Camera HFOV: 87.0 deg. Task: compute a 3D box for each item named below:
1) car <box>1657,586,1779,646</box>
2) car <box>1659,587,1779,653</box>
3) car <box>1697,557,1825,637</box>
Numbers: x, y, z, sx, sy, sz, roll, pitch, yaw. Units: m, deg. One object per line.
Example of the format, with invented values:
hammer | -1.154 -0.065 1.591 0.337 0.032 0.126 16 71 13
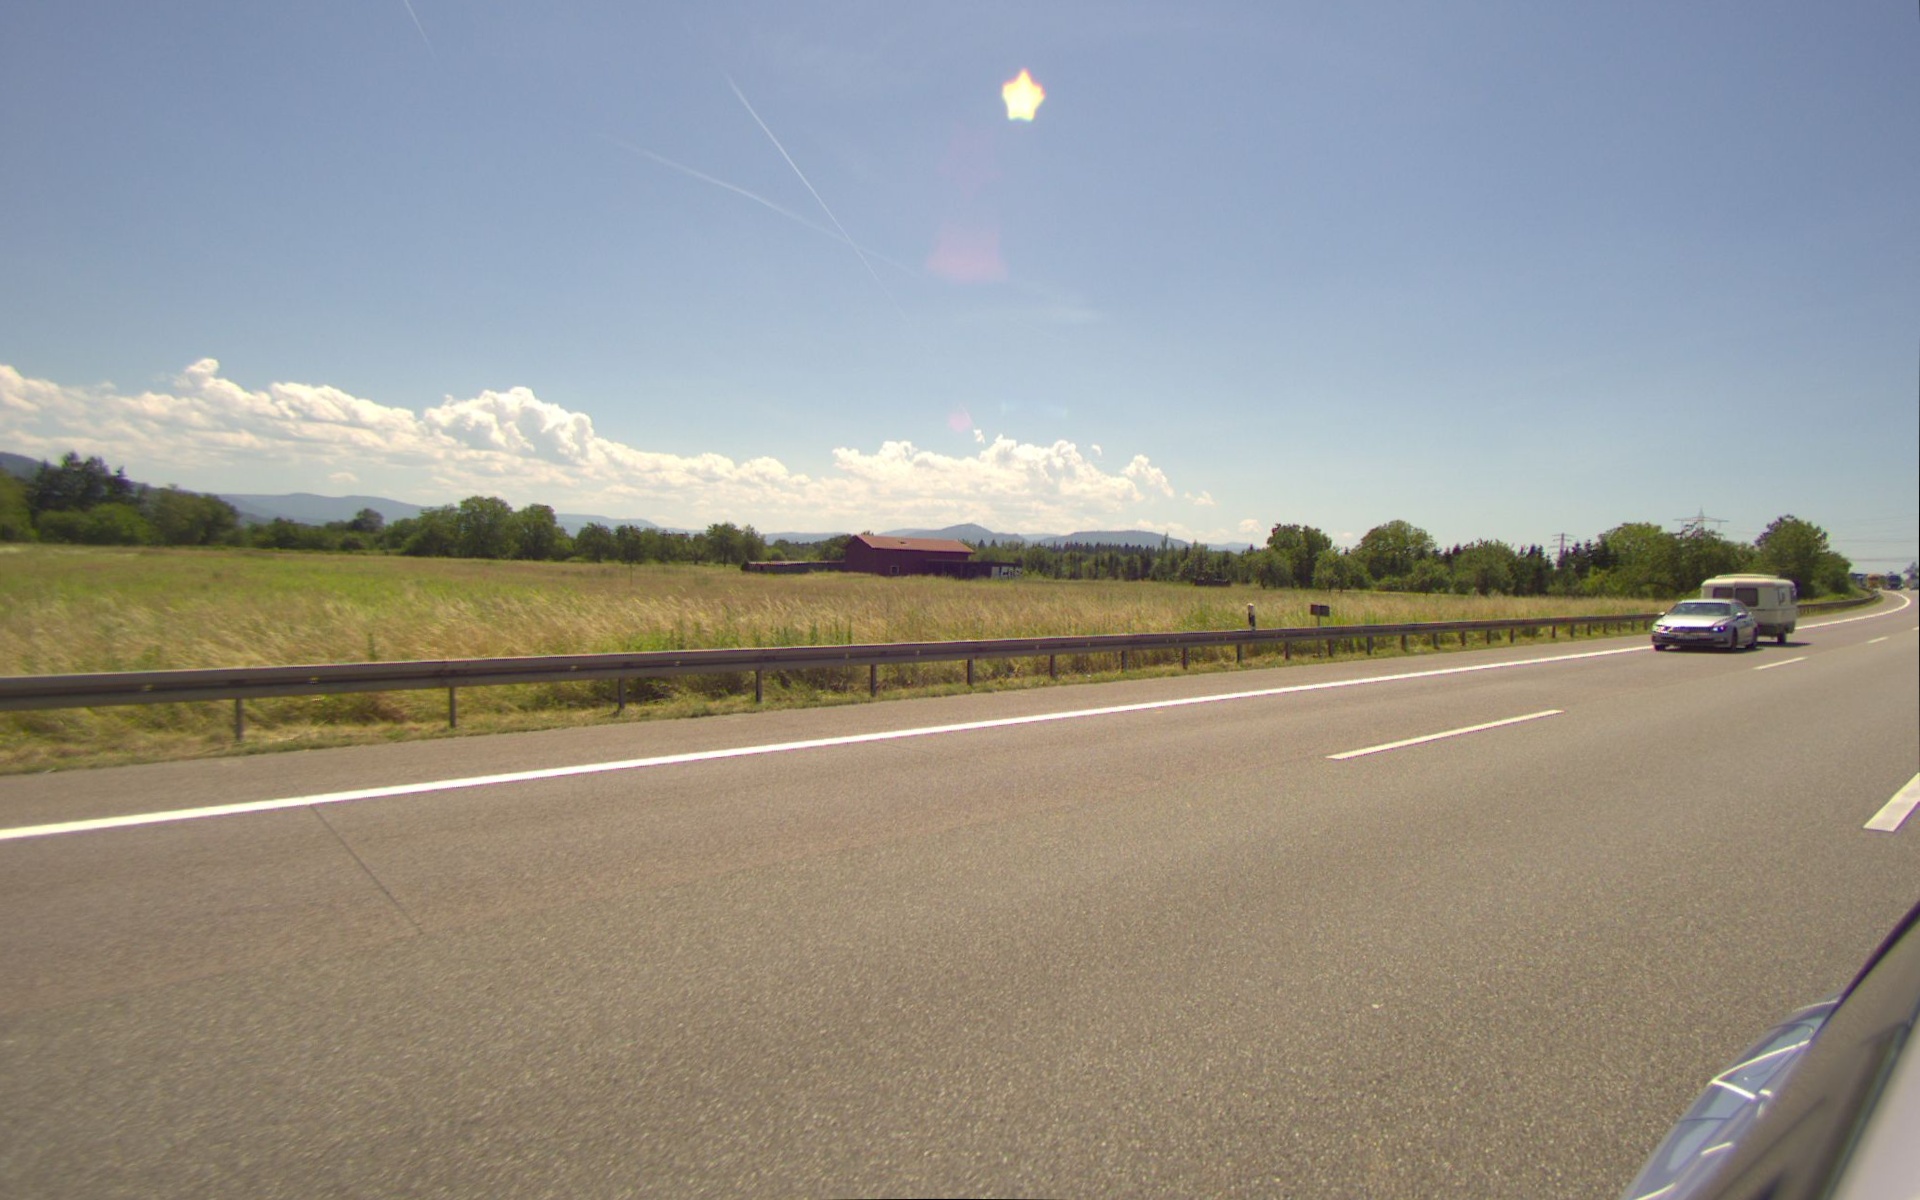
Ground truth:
car | 21.409 0.405 28.501 5.290 1.534 1.888 0 0 -44
car | 21.626 0.532 28.746 2.045 1.679 5.421 2 1 44
car | 25.868 -0.081 32.612 5.230 2.351 2.445 1 0 -43
